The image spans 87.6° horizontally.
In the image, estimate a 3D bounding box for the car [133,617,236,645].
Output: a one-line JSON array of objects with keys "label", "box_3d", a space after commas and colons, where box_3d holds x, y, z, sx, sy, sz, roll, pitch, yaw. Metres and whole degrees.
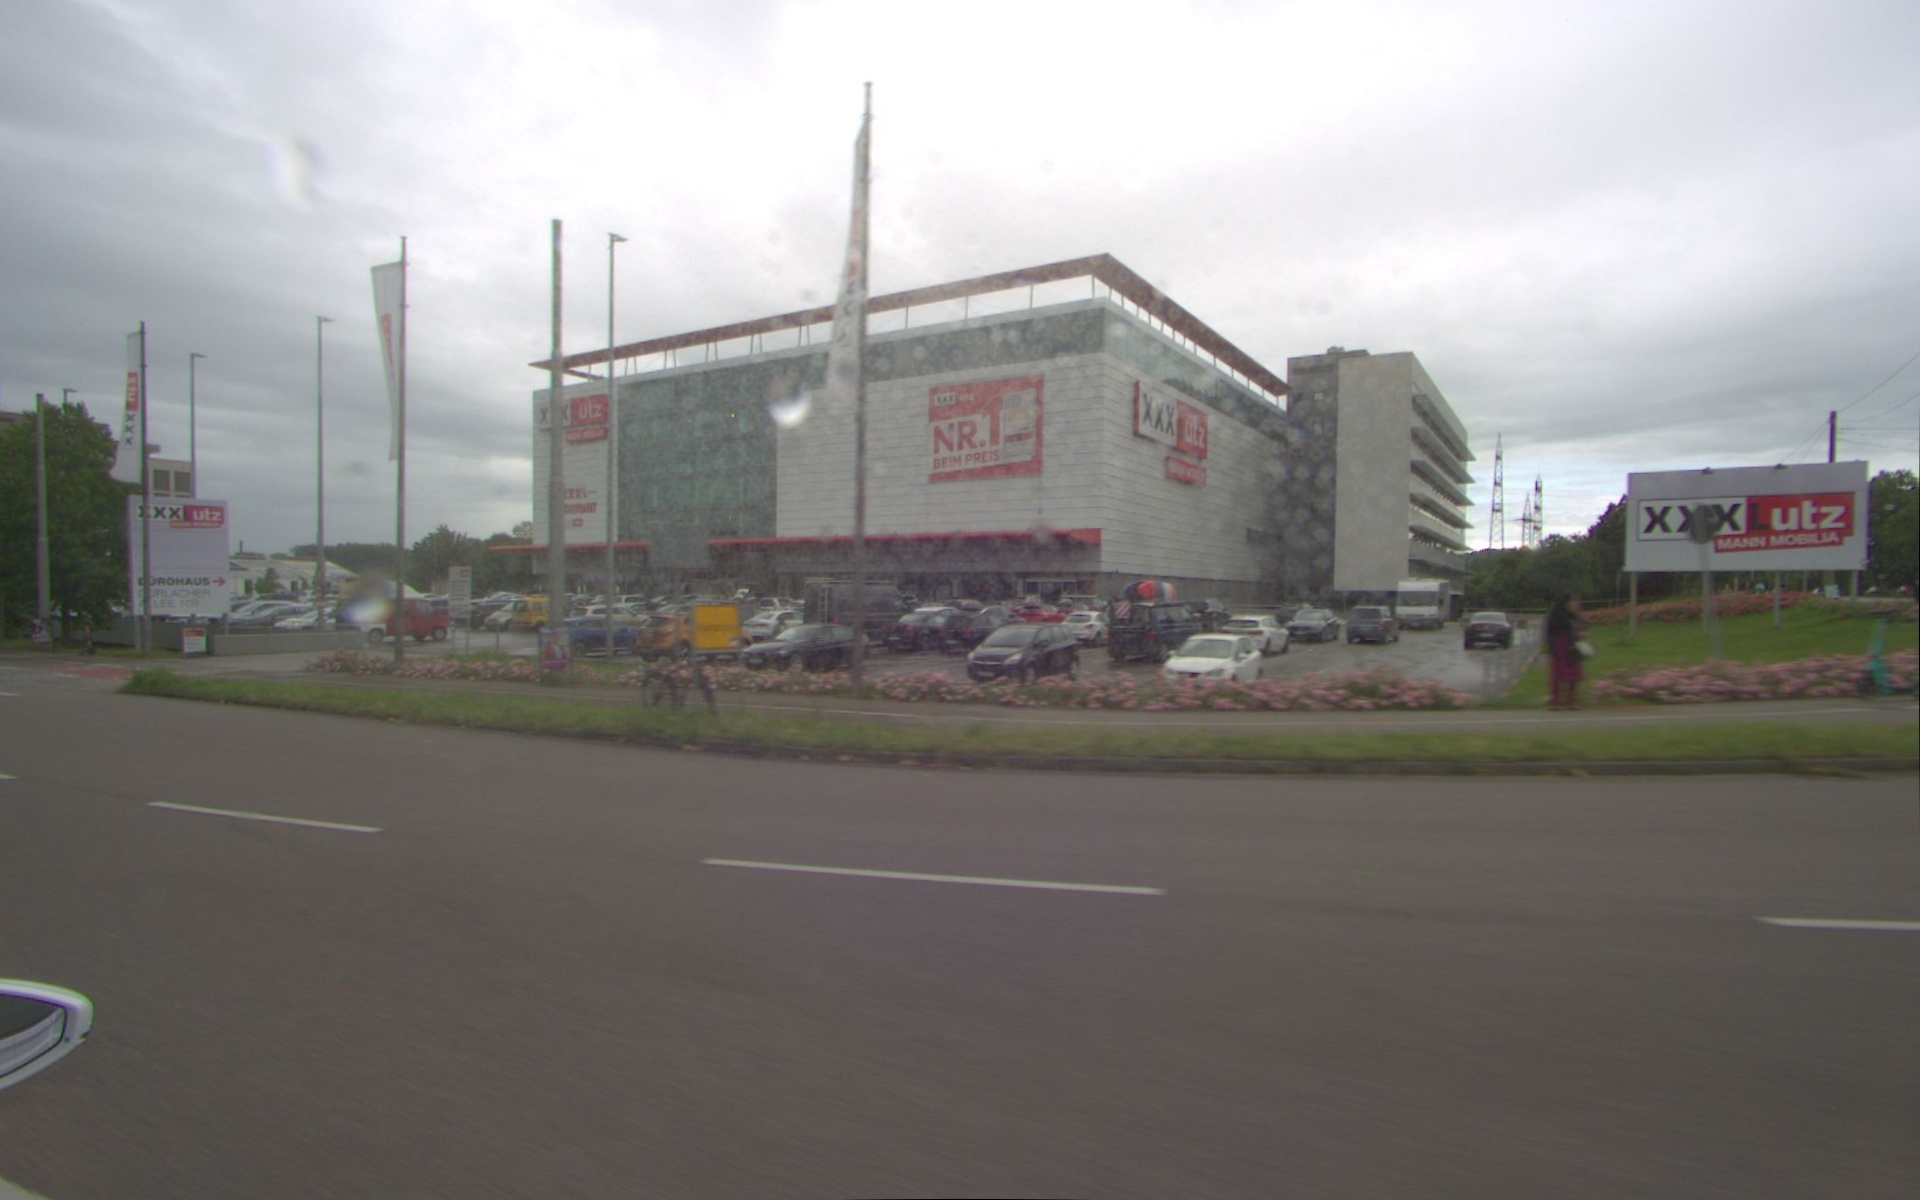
[{"label": "car", "box_3d": [-42.699, 1.685, 55.244, 1.783, 1.368, 4.145, 2, 1, 32]}]

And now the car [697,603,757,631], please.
[{"label": "car", "box_3d": [-15.808, 1.176, 68.045, 1.813, 1.864, 3.983, 0, -1, 29]}]

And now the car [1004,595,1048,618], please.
[{"label": "car", "box_3d": [4.841, 0.453, 73.188, 1.628, 1.581, 3.594, 1, 2, 34]}]

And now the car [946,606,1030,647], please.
[{"label": "car", "box_3d": [1.288, 1.154, 44.375, 1.860, 1.692, 3.976, 0, 0, 34]}]

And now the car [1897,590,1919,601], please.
[{"label": "car", "box_3d": [126.685, -0.630, 133.453, 1.724, 1.451, 3.360, 3, 2, 28]}]

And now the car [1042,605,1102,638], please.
[{"label": "car", "box_3d": [6.612, 1.220, 58.791, 1.796, 1.842, 3.975, -1, 0, 35]}]

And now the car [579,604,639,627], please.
[{"label": "car", "box_3d": [-26.152, 1.162, 74.708, 1.752, 1.582, 3.975, 3, 1, 35]}]

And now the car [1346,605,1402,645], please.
[{"label": "car", "box_3d": [18.663, 1.081, 45.066, 1.857, 1.687, 3.982, 0, 0, 30]}]

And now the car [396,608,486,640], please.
[{"label": "car", "box_3d": [-30.402, 1.390, 58.786, 1.863, 1.767, 4.300, 2, 1, 35]}]

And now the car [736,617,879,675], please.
[{"label": "car", "box_3d": [-4.546, 1.334, 30.429, 1.745, 1.604, 4.515, 0, -1, 34]}]

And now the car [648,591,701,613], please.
[{"label": "car", "box_3d": [-22.265, 0.169, 78.078, 1.717, 1.575, 3.763, 2, 1, 33]}]

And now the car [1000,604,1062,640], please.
[{"label": "car", "box_3d": [4.268, 1.283, 59.676, 1.973, 2.040, 3.977, 0, 0, 34]}]

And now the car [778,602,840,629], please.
[{"label": "car", "box_3d": [-9.547, 0.977, 63.733, 1.808, 1.676, 3.981, 0, -1, 31]}]

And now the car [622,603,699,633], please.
[{"label": "car", "box_3d": [-16.965, 1.009, 56.809, 1.762, 1.656, 3.977, 0, -1, 34]}]

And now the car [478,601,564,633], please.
[{"label": "car", "box_3d": [-24.050, 0.940, 54.963, 1.853, 1.617, 3.977, 2, 1, 34]}]

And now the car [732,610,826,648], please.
[{"label": "car", "box_3d": [-7.918, 1.256, 44.142, 1.838, 1.572, 3.976, 0, 0, 34]}]

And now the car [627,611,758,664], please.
[{"label": "car", "box_3d": [-8.843, 1.194, 33.392, 1.792, 1.665, 3.973, 0, 0, 37]}]

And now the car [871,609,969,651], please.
[{"label": "car", "box_3d": [-1.550, 1.163, 39.926, 1.972, 1.589, 3.978, 0, 0, 33]}]

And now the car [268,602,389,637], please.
[{"label": "car", "box_3d": [-29.409, 0.890, 46.751, 1.933, 1.481, 4.363, 2, 1, 34]}]

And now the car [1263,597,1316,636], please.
[{"label": "car", "box_3d": [17.544, 0.856, 53.236, 1.969, 1.976, 3.983, 0, -1, 29]}]

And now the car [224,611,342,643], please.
[{"label": "car", "box_3d": [-33.201, 1.309, 49.197, 1.841, 1.438, 4.454, 2, 1, 34]}]

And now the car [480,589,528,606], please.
[{"label": "car", "box_3d": [-41.441, -0.223, 91.091, 1.679, 1.394, 3.583, 2, 1, 35]}]

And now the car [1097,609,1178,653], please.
[{"label": "car", "box_3d": [7.304, 1.211, 40.991, 1.971, 1.697, 3.980, 0, 0, 31]}]

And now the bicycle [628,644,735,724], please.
[{"label": "bicycle", "box_3d": [-4.038, 1.179, 14.461, 1.671, 1.062, 0.660, -1, -1, 39]}]

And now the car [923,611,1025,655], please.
[{"label": "car", "box_3d": [0.590, 1.239, 38.573, 1.923, 1.576, 3.971, -1, -1, 38]}]

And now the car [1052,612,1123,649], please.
[{"label": "car", "box_3d": [5.511, 1.278, 42.874, 1.803, 1.487, 3.889, 0, -1, 27]}]

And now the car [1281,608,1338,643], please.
[{"label": "car", "box_3d": [16.061, 1.135, 45.945, 1.805, 1.536, 3.982, 0, 0, 29]}]

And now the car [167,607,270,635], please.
[{"label": "car", "box_3d": [-39.476, 1.121, 53.398, 1.738, 1.368, 4.047, 2, 1, 32]}]

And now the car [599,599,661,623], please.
[{"label": "car", "box_3d": [-24.059, 0.775, 73.048, 1.856, 1.632, 3.975, 3, 1, 35]}]

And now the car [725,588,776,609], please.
[{"label": "car", "box_3d": [-16.291, -0.099, 77.994, 1.804, 1.575, 3.786, 2, 1, 32]}]

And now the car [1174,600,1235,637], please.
[{"label": "car", "box_3d": [13.449, 0.990, 54.937, 1.924, 1.954, 3.975, -1, 0, 35]}]

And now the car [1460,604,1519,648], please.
[{"label": "car", "box_3d": [22.529, 1.068, 42.548, 1.888, 1.779, 3.977, 0, 0, 33]}]

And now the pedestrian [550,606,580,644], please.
[{"label": "pedestrian", "box_3d": [-18.418, 1.160, 46.676, 0.872, 1.743, 0.938, 3, 1, 31]}]

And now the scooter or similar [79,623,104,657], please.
[{"label": "scooter or similar", "box_3d": [-31.847, 1.472, 36.703, 1.230, 1.207, 0.369, 1, 1, 33]}]

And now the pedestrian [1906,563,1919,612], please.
[{"label": "pedestrian", "box_3d": [35.816, -0.472, 37.352, 0.538, 1.806, 0.632, 3, 2, 29]}]

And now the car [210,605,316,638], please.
[{"label": "car", "box_3d": [-35.191, 1.064, 50.656, 1.739, 1.561, 4.044, 2, 1, 34]}]

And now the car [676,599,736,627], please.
[{"label": "car", "box_3d": [-17.645, 0.919, 69.729, 1.860, 1.846, 3.984, 0, -1, 28]}]

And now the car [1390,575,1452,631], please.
[{"label": "car", "box_3d": [27.086, 0.169, 58.682, 2.725, 3.029, 6.922, 2, 1, 29]}]

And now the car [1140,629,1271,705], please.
[{"label": "car", "box_3d": [5.893, 1.500, 23.685, 1.848, 1.465, 4.100, 2, 1, 31]}]

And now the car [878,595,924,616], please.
[{"label": "car", "box_3d": [-4.698, 0.462, 80.140, 1.804, 1.575, 3.786, 2, 1, 32]}]

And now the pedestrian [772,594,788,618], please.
[{"label": "pedestrian", "box_3d": [-14.661, 0.461, 81.579, 0.953, 1.895, 0.948, 2, 1, 19]}]

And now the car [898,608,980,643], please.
[{"label": "car", "box_3d": [-0.918, 1.157, 46.209, 1.829, 1.576, 3.978, 0, -1, 34]}]

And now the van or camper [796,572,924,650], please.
[{"label": "van or camper", "box_3d": [-4.021, 0.445, 41.149, 1.968, 3.023, 5.354, 0, 0, 41]}]

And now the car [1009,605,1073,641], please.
[{"label": "car", "box_3d": [4.450, 1.214, 54.598, 1.807, 1.886, 3.978, 0, 0, 33]}]

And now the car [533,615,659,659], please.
[{"label": "car", "box_3d": [-13.013, 1.291, 35.975, 1.789, 1.474, 3.977, -1, -1, 34]}]

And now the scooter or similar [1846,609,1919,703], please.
[{"label": "scooter or similar", "box_3d": [12.748, 0.754, 13.618, 1.142, 1.249, 0.346, 0, -1, -6]}]

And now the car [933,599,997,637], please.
[{"label": "car", "box_3d": [0.337, 1.037, 57.462, 1.857, 2.074, 3.979, 0, -1, 33]}]

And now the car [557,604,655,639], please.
[{"label": "car", "box_3d": [-17.753, 1.085, 50.418, 1.808, 1.605, 4.401, 2, 0, 34]}]

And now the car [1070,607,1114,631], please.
[{"label": "car", "box_3d": [9.318, 1.352, 70.559, 1.628, 1.580, 3.596, 1, -1, 34]}]

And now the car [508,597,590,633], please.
[{"label": "car", "box_3d": [-21.975, 0.776, 53.647, 1.709, 1.792, 3.727, 3, 1, 34]}]

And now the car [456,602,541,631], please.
[{"label": "car", "box_3d": [-25.904, 0.940, 56.285, 1.861, 1.554, 3.980, 0, -1, 32]}]

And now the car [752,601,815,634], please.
[{"label": "car", "box_3d": [-11.527, 1.126, 65.578, 1.885, 2.083, 3.982, 2, 0, 30]}]

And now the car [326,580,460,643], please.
[{"label": "car", "box_3d": [-25.110, 0.490, 44.485, 2.140, 2.614, 4.711, 3, 1, 34]}]

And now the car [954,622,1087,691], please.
[{"label": "car", "box_3d": [1.692, 1.426, 26.573, 1.744, 1.604, 4.083, 2, 0, 33]}]

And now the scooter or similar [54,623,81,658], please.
[{"label": "scooter or similar", "box_3d": [-37.884, 1.695, 42.507, 1.799, 1.440, 0.647, -1, 0, 42]}]

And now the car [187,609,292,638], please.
[{"label": "car", "box_3d": [-37.293, 1.198, 51.908, 1.808, 1.368, 4.047, 2, 1, 32]}]

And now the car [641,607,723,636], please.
[{"label": "car", "box_3d": [-15.202, 1.158, 54.977, 1.715, 1.488, 4.229, 2, 0, 34]}]

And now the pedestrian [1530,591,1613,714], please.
[{"label": "pedestrian", "box_3d": [8.376, 0.716, 13.749, 0.703, 1.618, 0.783, -2, -1, 13]}]

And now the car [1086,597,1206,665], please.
[{"label": "car", "box_3d": [6.582, 1.022, 35.042, 2.095, 2.194, 5.016, 0, 0, 37]}]

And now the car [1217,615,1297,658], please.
[{"label": "car", "box_3d": [11.259, 1.341, 37.782, 1.722, 1.495, 4.186, 0, 0, 34]}]
